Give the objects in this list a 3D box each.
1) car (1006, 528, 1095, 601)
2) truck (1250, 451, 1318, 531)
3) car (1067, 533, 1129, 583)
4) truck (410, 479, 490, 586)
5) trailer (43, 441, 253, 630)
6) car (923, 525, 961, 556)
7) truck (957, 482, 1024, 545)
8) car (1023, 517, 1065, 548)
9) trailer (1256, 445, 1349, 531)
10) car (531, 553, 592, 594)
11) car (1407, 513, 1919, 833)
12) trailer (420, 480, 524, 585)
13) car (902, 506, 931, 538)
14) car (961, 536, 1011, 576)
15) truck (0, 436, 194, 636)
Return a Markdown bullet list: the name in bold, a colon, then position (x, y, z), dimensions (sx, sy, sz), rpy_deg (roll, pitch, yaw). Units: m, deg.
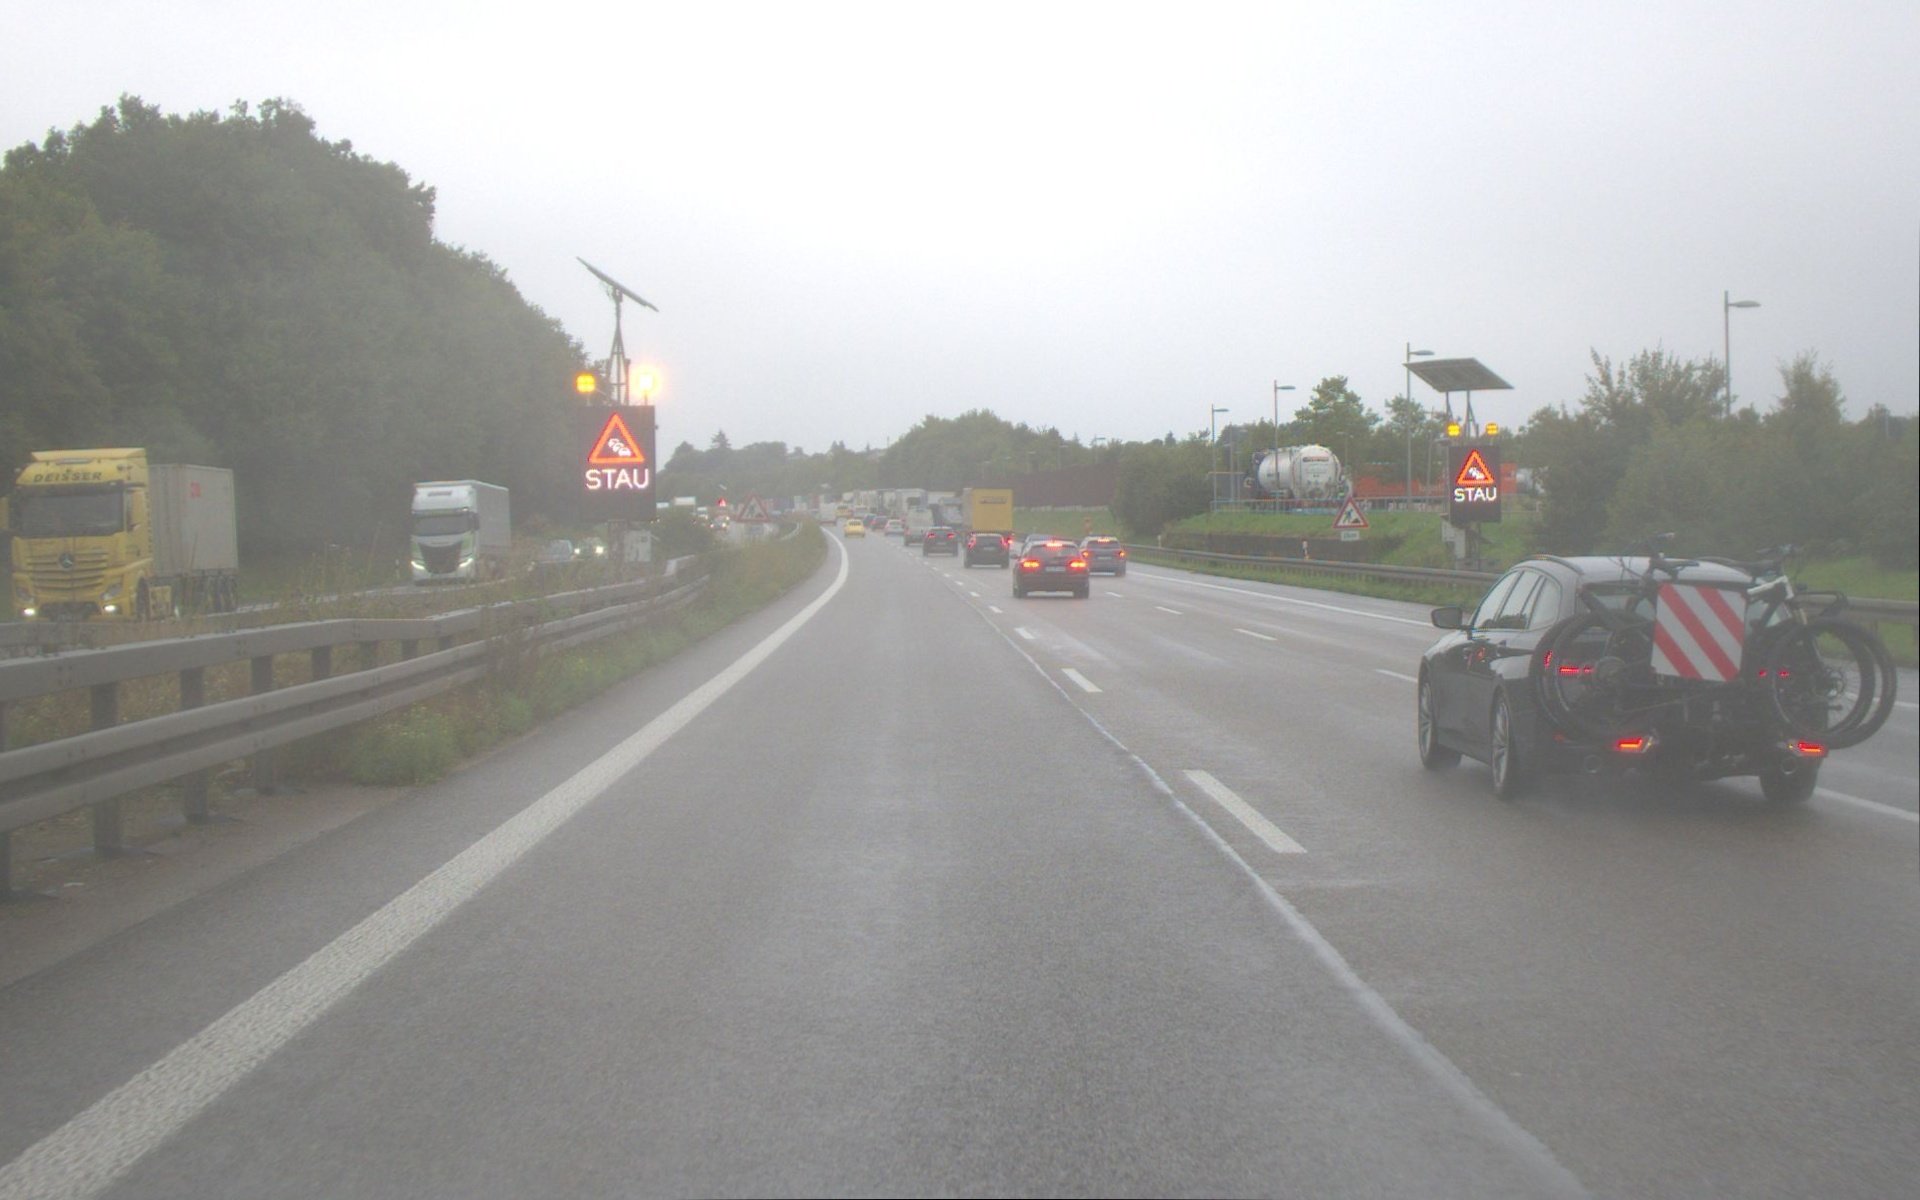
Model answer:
- **car**: position (2.245, -0.917, 86.196), dimensions (1.993, 1.755, 4.000), rpy_deg (-1, 1, -1)
- **truck**: position (17.044, -5.714, 180.926), dimensions (2.949, 4.131, 4.922), rpy_deg (-1, 1, -1)
- **car**: position (5.054, -1.572, 126.756), dimensions (1.993, 1.755, 4.000), rpy_deg (-1, 1, -1)
- **truck**: position (-20.652, -2.746, 139.316), dimensions (2.643, 4.222, 4.000), rpy_deg (-1, 1, -1)
- **trailer**: position (-18.855, -1.516, 80.406), dimensions (2.762, 4.041, 9.201), rpy_deg (-2, 1, -1)
- **car**: position (-1.016, -3.280, 189.121), dimensions (1.993, 1.623, 4.000), rpy_deg (-1, 1, -1)
- **truck**: position (1.980, -5.692, 226.832), dimensions (3.924, 3.968, 12.241), rpy_deg (-1, 1, -1)
- **car**: position (4.457, -3.595, 182.929), dimensions (1.993, 1.623, 4.000), rpy_deg (-1, 1, -1)
- **trailer**: position (17.240, -5.594, 173.873), dimensions (2.985, 4.142, 12.958), rpy_deg (-1, 1, -2)
- **car**: position (-15.634, -1.049, 135.015), dimensions (1.874, 1.488, 4.514), rpy_deg (-2, 1, -1)
- **car**: position (4.081, 0.375, 20.916), dimensions (2.058, 1.666, 5.522), rpy_deg (1, 0, 1)
- **trailer**: position (-20.770, -2.905, 147.083), dimensions (2.643, 4.222, 13.912), rpy_deg (-1, 1, -1)
- **car**: position (-3.063, -5.487, 241.826), dimensions (1.993, 2.197, 4.000), rpy_deg (-1, 1, -1)
- **car**: position (1.098, -1.875, 146.619), dimensions (1.993, 1.623, 4.000), rpy_deg (-1, 1, -1)
- **truck**: position (-18.702, -1.391, 74.598), dimensions (2.762, 4.041, 6.157), rpy_deg (-2, 1, -1)
